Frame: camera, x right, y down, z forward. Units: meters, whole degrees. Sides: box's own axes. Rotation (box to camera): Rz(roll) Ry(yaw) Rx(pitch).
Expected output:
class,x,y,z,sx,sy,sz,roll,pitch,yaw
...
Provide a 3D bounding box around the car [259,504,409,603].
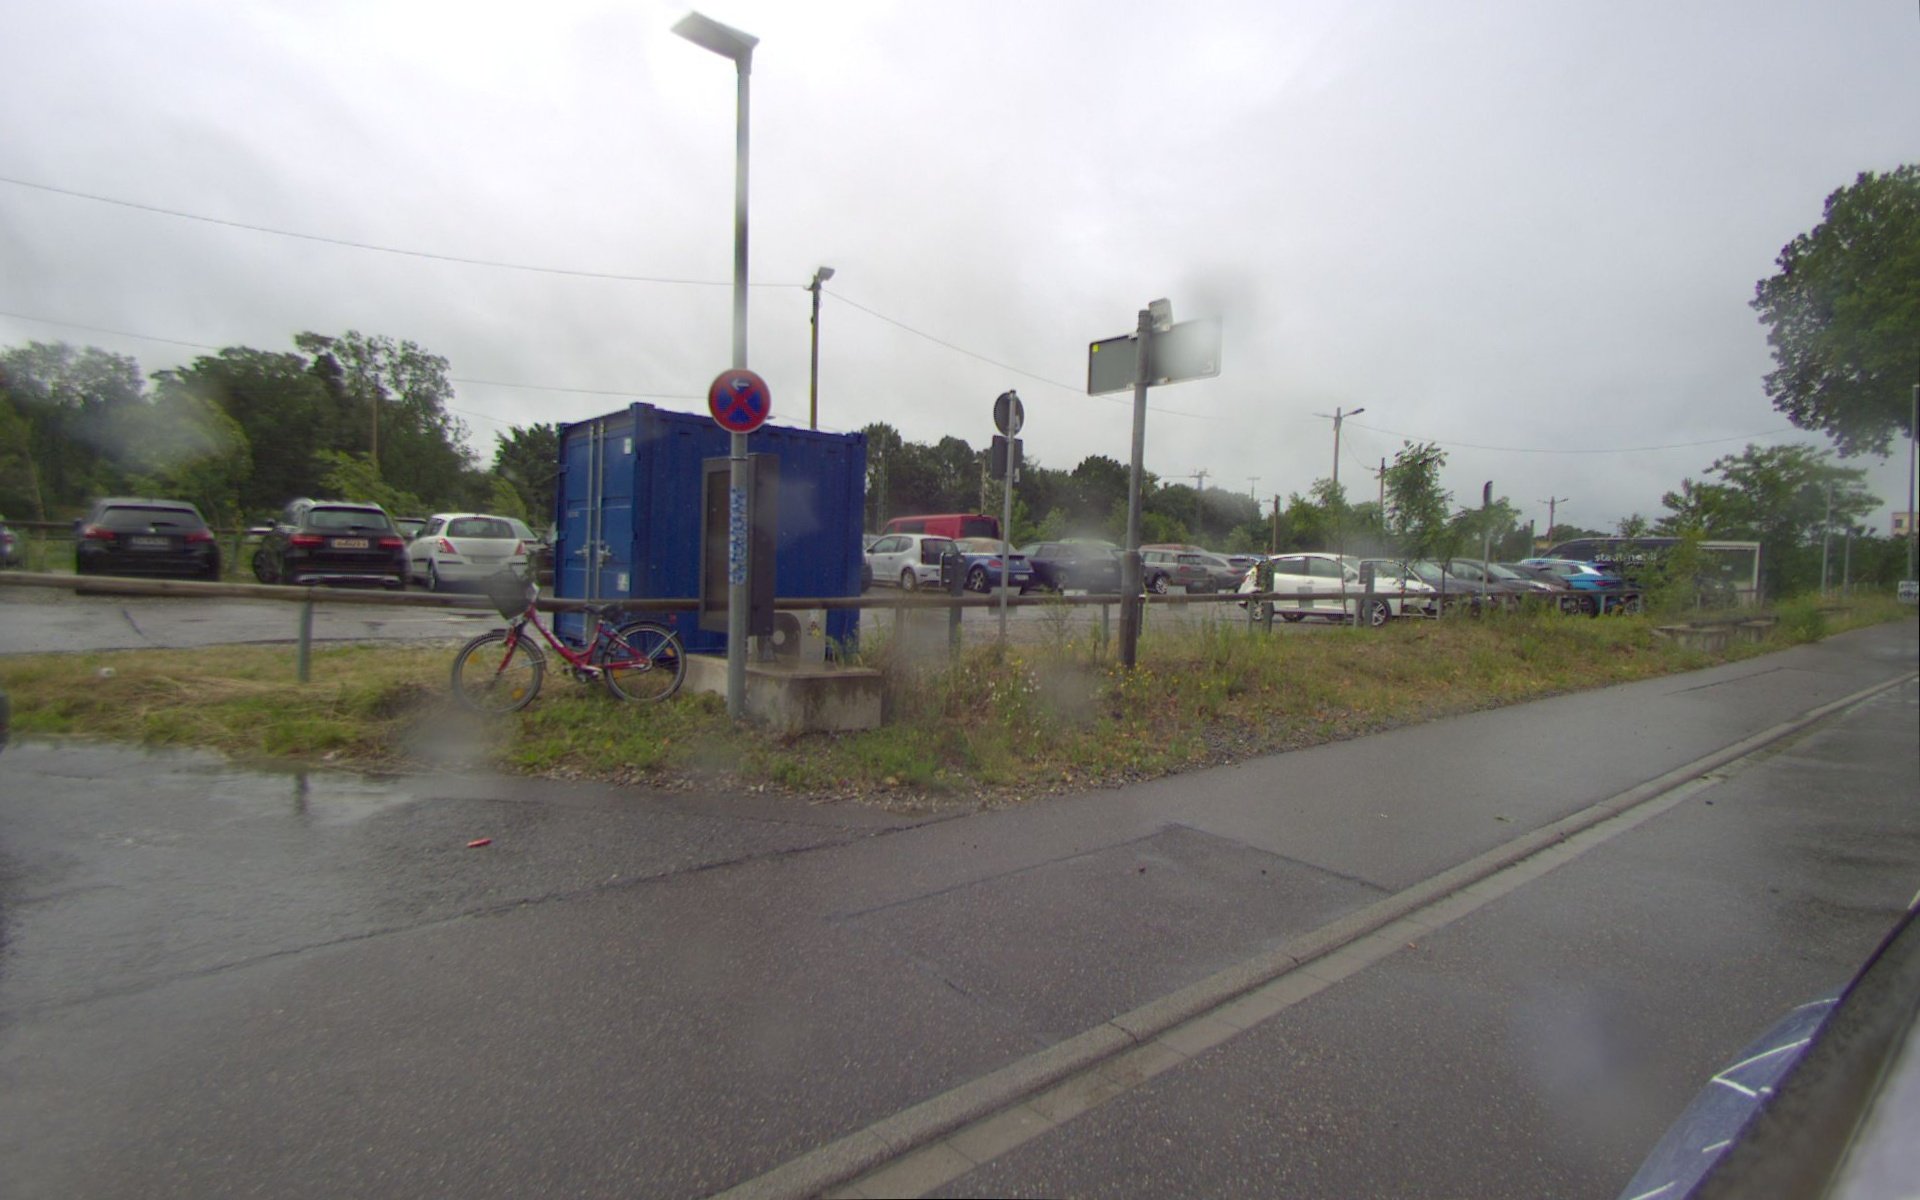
class,x,y,z,sx,sy,sz,roll,pitch,yaw
car,-11.151,-0.887,17.915,1.836,1.507,3.965,-1,5,-38

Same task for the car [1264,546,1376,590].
class,x,y,z,sx,sy,sz,roll,pitch,yaw
car,14.730,-1.368,41.627,1.774,1.555,3.965,-1,5,-38

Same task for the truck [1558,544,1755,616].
class,x,y,z,sx,sy,sz,roll,pitch,yaw
truck,24.340,-0.775,35.570,2.038,2.351,5.341,-1,3,-40

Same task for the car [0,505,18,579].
class,x,y,z,sx,sy,sz,roll,pitch,yaw
car,-25.954,-1.578,26.431,1.966,1.852,3.993,0,4,-43

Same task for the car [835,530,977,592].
class,x,y,z,sx,sy,sz,roll,pitch,yaw
car,-1.524,-1.091,27.135,1.853,1.444,3.965,-1,6,-38

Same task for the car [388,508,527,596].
class,x,y,z,sx,sy,sz,roll,pitch,yaw
car,-10.051,-1.013,20.101,1.746,1.507,3.965,-1,5,-38

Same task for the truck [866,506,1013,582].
class,x,y,z,sx,sy,sz,roll,pitch,yaw
truck,-0.791,-1.958,34.670,2.115,2.396,5.301,0,4,-40

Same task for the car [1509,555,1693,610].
class,x,y,z,sx,sy,sz,roll,pitch,yaw
car,18.448,-0.568,29.250,1.832,1.437,4.165,-2,4,-43

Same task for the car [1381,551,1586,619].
class,x,y,z,sx,sy,sz,roll,pitch,yaw
car,12.214,-0.422,23.767,1.749,1.440,3.901,-2,3,-42

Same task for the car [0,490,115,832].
class,x,y,z,sx,sy,sz,roll,pitch,yaw
car,-6.243,0.145,4.155,4.154,1.473,1.899,4,4,5

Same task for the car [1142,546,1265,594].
class,x,y,z,sx,sy,sz,roll,pitch,yaw
car,8.537,-1.112,35.729,1.788,1.444,3.965,-1,5,-38

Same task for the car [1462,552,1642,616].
class,x,y,z,sx,sy,sz,roll,pitch,yaw
car,16.273,-0.511,27.962,1.865,1.614,3.901,-2,3,-42

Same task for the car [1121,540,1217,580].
class,x,y,z,sx,sy,sz,roll,pitch,yaw
car,9.253,-1.782,45.036,1.733,1.660,3.998,-1,3,-39

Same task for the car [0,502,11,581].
class,x,y,z,sx,sy,sz,roll,pitch,yaw
car,-15.120,-0.806,14.509,1.616,1.235,3.904,-1,5,-35

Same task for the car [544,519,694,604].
class,x,y,z,sx,sy,sz,roll,pitch,yaw
car,-7.127,-0.859,20.926,1.746,1.507,3.965,-1,5,-38

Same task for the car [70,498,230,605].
class,x,y,z,sx,sy,sz,roll,pitch,yaw
car,-13.178,-0.870,16.581,1.836,1.507,3.965,-1,5,-38

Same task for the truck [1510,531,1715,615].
class,x,y,z,sx,sy,sz,roll,pitch,yaw
truck,20.418,-0.903,31.846,2.075,2.432,5.041,-1,3,-42

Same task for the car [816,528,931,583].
class,x,y,z,sx,sy,sz,roll,pitch,yaw
car,-2.871,-1.481,32.998,1.739,1.593,3.997,0,4,-40

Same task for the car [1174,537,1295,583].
class,x,y,z,sx,sy,sz,roll,pitch,yaw
car,10.325,-1.554,38.332,1.891,1.507,4.079,-1,5,-38

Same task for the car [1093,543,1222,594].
class,x,y,z,sx,sy,sz,roll,pitch,yaw
car,6.517,-1.088,33.758,1.853,1.444,3.965,-1,6,-38

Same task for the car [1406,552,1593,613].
class,x,y,z,sx,sy,sz,roll,pitch,yaw
car,13.860,-0.504,26.150,1.749,1.411,3.901,-2,3,-42

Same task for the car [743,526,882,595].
class,x,y,z,sx,sy,sz,roll,pitch,yaw
car,-3.807,-1.056,25.595,1.746,1.507,3.965,-1,5,-38

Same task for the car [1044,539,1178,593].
class,x,y,z,sx,sy,sz,roll,pitch,yaw
car,4.686,-1.108,31.914,1.853,1.444,3.965,-1,6,-38

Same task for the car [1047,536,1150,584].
class,x,y,z,sx,sy,sz,roll,pitch,yaw
car,5.474,-1.633,40.433,1.763,1.822,4.001,0,3,-36

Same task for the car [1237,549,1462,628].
class,x,y,z,sx,sy,sz,roll,pitch,yaw
car,7.741,-0.305,20.347,1.874,1.410,3.777,-2,3,-42

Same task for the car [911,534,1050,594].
class,x,y,z,sx,sy,sz,roll,pitch,yaw
car,0.510,-1.064,28.626,1.853,1.444,3.965,-1,6,-38

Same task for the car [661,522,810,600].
class,x,y,z,sx,sy,sz,roll,pitch,yaw
car,-5.143,-0.934,22.839,1.746,1.507,3.965,-1,5,-38

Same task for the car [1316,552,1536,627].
class,x,y,z,sx,sy,sz,roll,pitch,yaw
car,9.964,-0.296,21.838,1.874,1.440,3.901,-2,3,-42

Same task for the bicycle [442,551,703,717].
class,x,y,z,sx,sy,sz,roll,pitch,yaw
bicycle,-2.732,0.233,7.238,1.667,1.097,0.510,1,3,-20

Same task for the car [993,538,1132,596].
class,x,y,z,sx,sy,sz,roll,pitch,yaw
car,2.955,-1.022,29.998,1.853,1.444,3.965,-1,6,-38
